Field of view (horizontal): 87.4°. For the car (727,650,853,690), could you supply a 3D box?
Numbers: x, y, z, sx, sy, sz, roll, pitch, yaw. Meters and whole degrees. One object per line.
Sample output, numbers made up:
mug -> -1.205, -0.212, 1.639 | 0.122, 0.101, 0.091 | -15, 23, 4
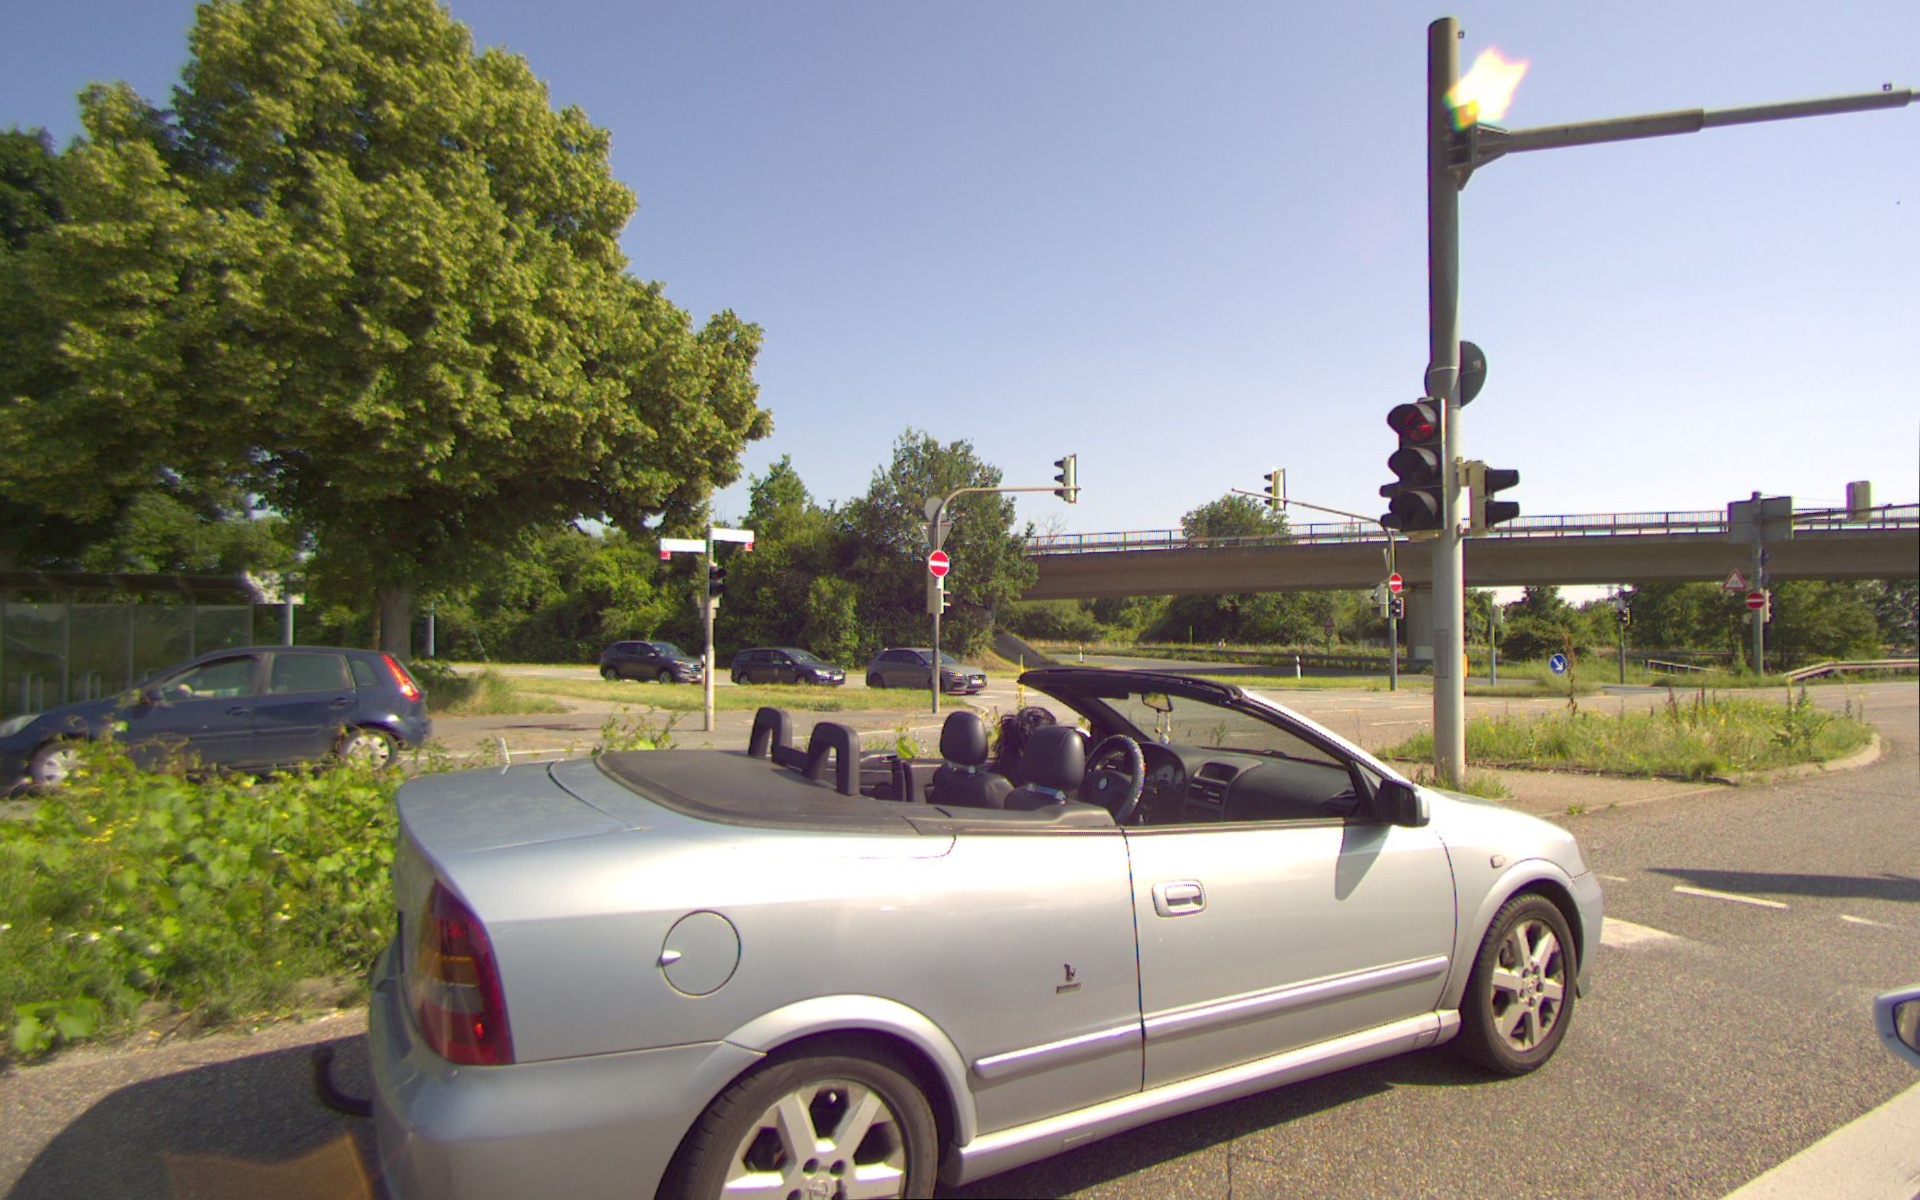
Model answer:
car -> -5.969, 2.413, 35.144 | 4.276, 1.297, 1.648 | -1, -2, 30

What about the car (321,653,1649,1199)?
car -> 0.329, 0.870, 3.346 | 4.049, 1.352, 1.666 | 1, -3, -30

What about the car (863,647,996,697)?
car -> -1.008, 2.234, 31.947 | 4.066, 1.443, 1.862 | -2, -3, 41

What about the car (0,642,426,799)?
car -> -7.938, 1.214, 10.894 | 3.732, 1.460, 1.607 | 1, -4, -30

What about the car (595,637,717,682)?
car -> -11.382, 2.207, 37.562 | 4.270, 1.616, 1.651 | -1, -2, 22
